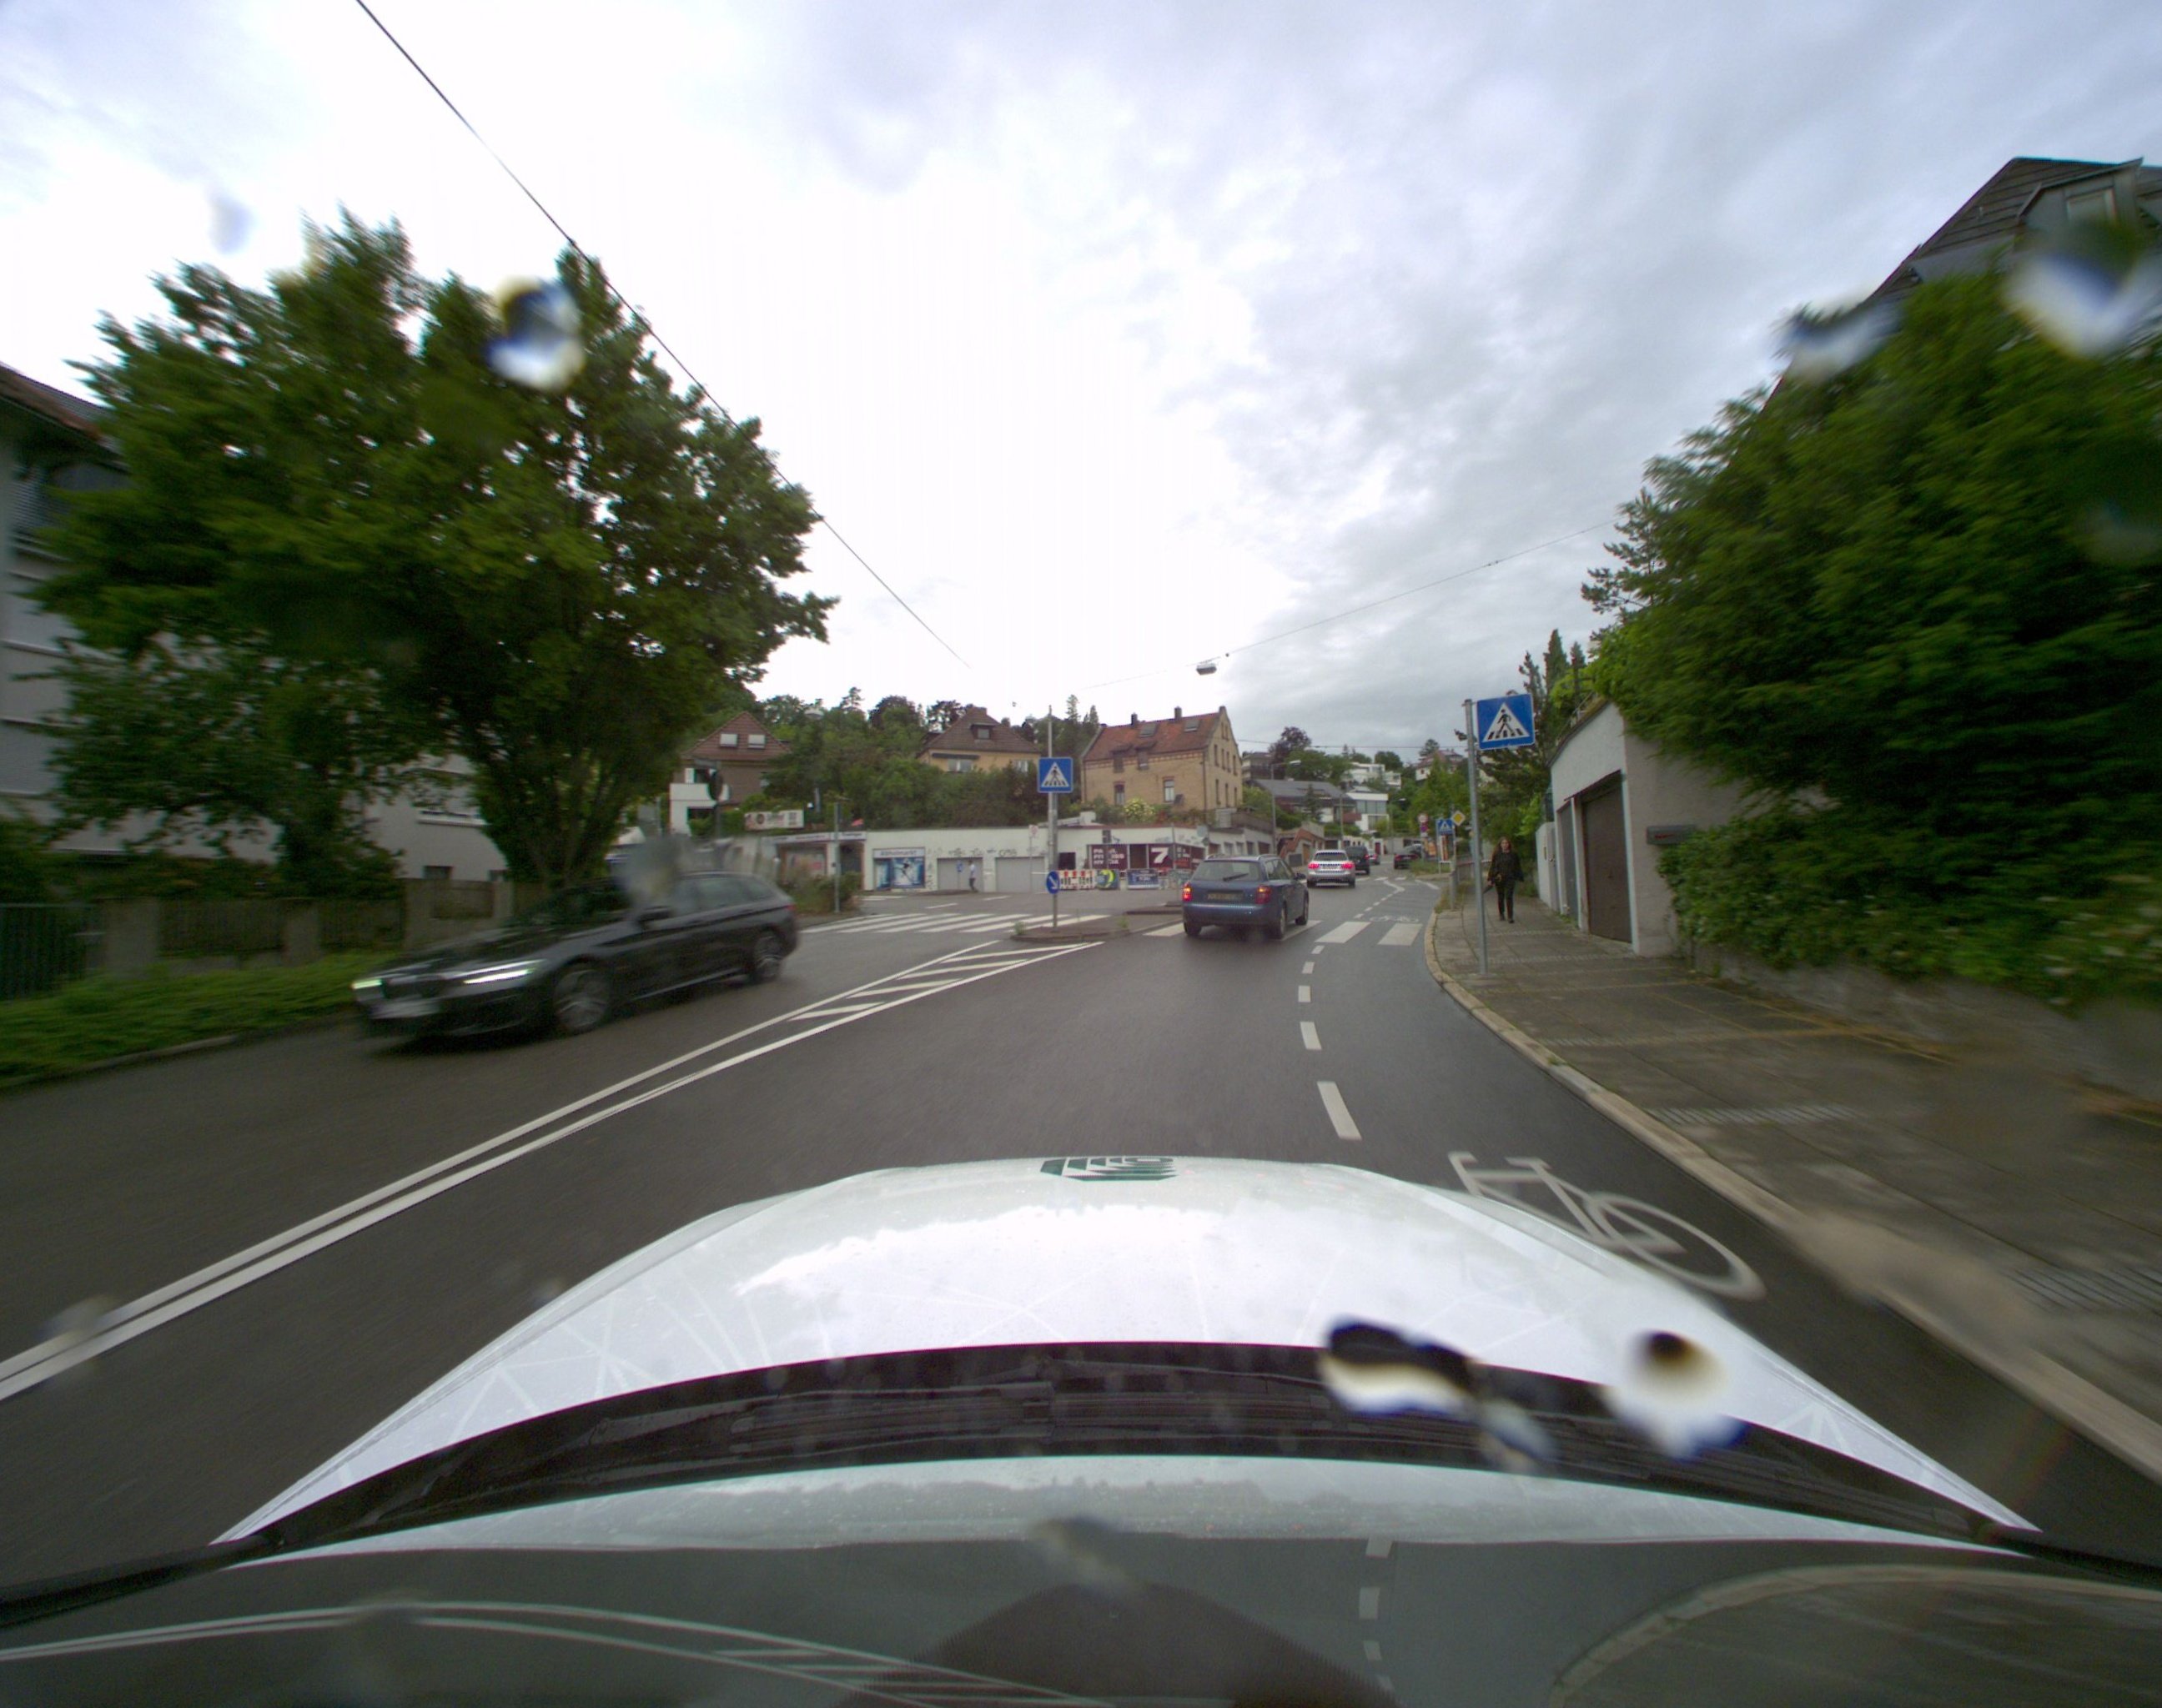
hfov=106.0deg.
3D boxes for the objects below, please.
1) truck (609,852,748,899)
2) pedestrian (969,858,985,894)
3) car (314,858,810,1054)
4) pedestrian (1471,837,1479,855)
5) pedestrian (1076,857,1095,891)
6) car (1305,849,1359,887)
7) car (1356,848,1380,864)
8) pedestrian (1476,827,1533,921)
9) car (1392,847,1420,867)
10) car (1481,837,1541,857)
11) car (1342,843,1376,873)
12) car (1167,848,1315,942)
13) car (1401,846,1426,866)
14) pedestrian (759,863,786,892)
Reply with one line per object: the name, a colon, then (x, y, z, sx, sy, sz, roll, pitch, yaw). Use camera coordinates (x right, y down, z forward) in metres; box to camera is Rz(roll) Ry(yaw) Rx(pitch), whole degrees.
truck: (-20.526, 1.064, 41.533, 6.730, 2.269, 2.326, -1, -1, 20)
pedestrian: (-5.239, 1.086, 41.075, 0.702, 1.806, 0.808, -1, -1, -2)
car: (-5.168, 0.889, 9.104, 1.857, 1.491, 4.653, -3, 0, 12)
pedestrian: (38.158, -0.767, 78.886, 0.633, 1.795, 0.748, -2, 0, 22)
pedestrian: (0.224, 1.010, 40.709, 0.586, 1.689, 0.620, -2, -2, -30)
car: (9.845, 0.522, 31.750, 1.796, 1.360, 4.020, -1, 0, 20)
car: (25.060, 0.167, 71.039, 1.808, 1.296, 4.021, -2, 0, 22)
pedestrian: (8.119, 0.375, 15.667, 0.796, 1.722, 1.066, -4, -2, 24)
car: (23.771, 0.190, 59.588, 1.756, 1.377, 4.372, -2, 0, 22)
car: (34.447, -0.546, 65.241, 3.948, 1.415, 1.736, -2, -1, 40)
car: (17.871, 0.239, 52.228, 1.808, 1.819, 4.022, -2, 0, 22)
car: (3.121, 0.650, 15.216, 1.795, 1.439, 4.105, -1, 1, 24)
car: (26.141, 0.144, 64.147, 1.701, 1.450, 3.853, -2, 0, 21)
pedestrian: (-16.183, 1.222, 42.686, 0.967, 1.505, 0.895, 0, 0, 23)
